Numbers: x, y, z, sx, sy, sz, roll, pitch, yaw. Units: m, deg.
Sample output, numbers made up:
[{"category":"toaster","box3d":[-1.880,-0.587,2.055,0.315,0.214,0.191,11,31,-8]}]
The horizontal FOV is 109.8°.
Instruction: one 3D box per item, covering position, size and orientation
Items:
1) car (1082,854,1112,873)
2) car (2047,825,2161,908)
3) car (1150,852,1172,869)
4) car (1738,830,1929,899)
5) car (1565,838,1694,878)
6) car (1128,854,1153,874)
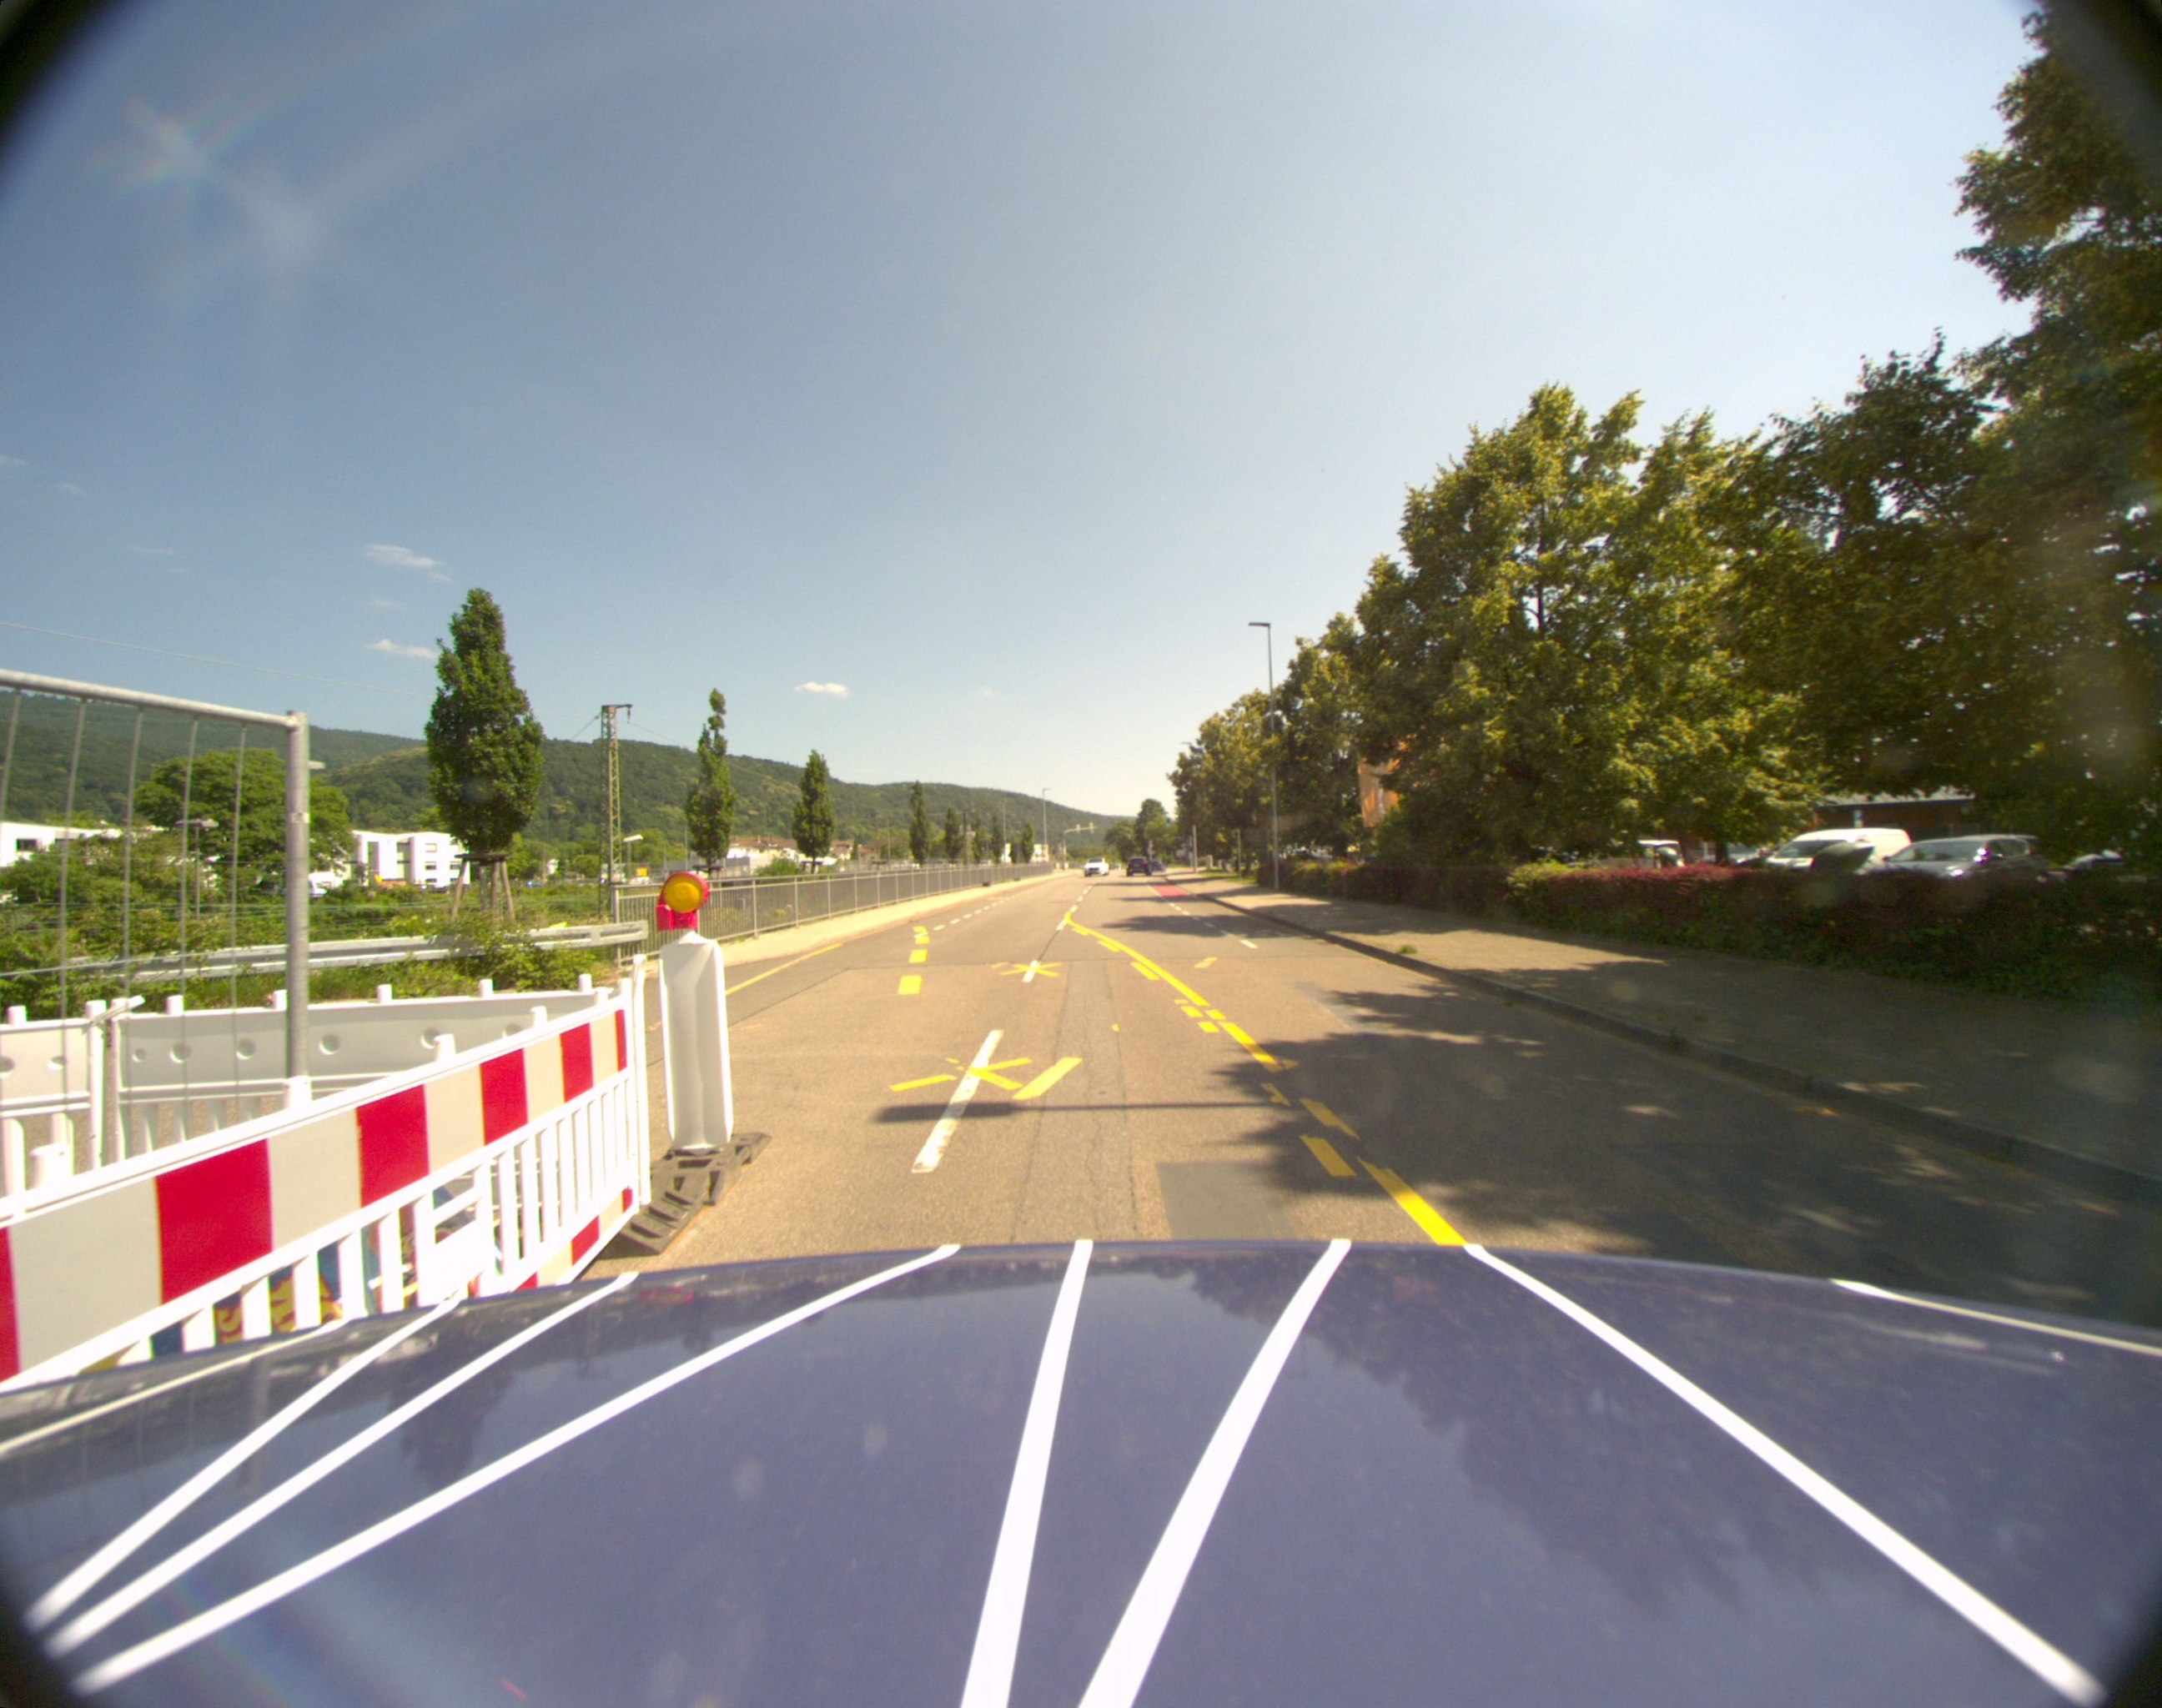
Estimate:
[{"category":"car","box3d":[1.472,0.853,69.462,1.997,1.635,5.035,-1,0,10]},{"category":"car","box3d":[23.767,0.202,16.609,4.370,1.676,1.859,-2,0,-18]},{"category":"car","box3d":[8.368,0.652,79.708,1.998,1.635,4.528,-1,0,2]},{"category":"car","box3d":[20.660,0.259,20.898,4.315,1.676,1.860,-2,0,-17]},{"category":"car","box3d":[23.344,0.182,32.512,1.922,1.543,4.136,-2,0,-16]},{"category":"car","box3d":[5.168,0.803,65.499,1.997,1.635,4.530,-1,0,7]}]
